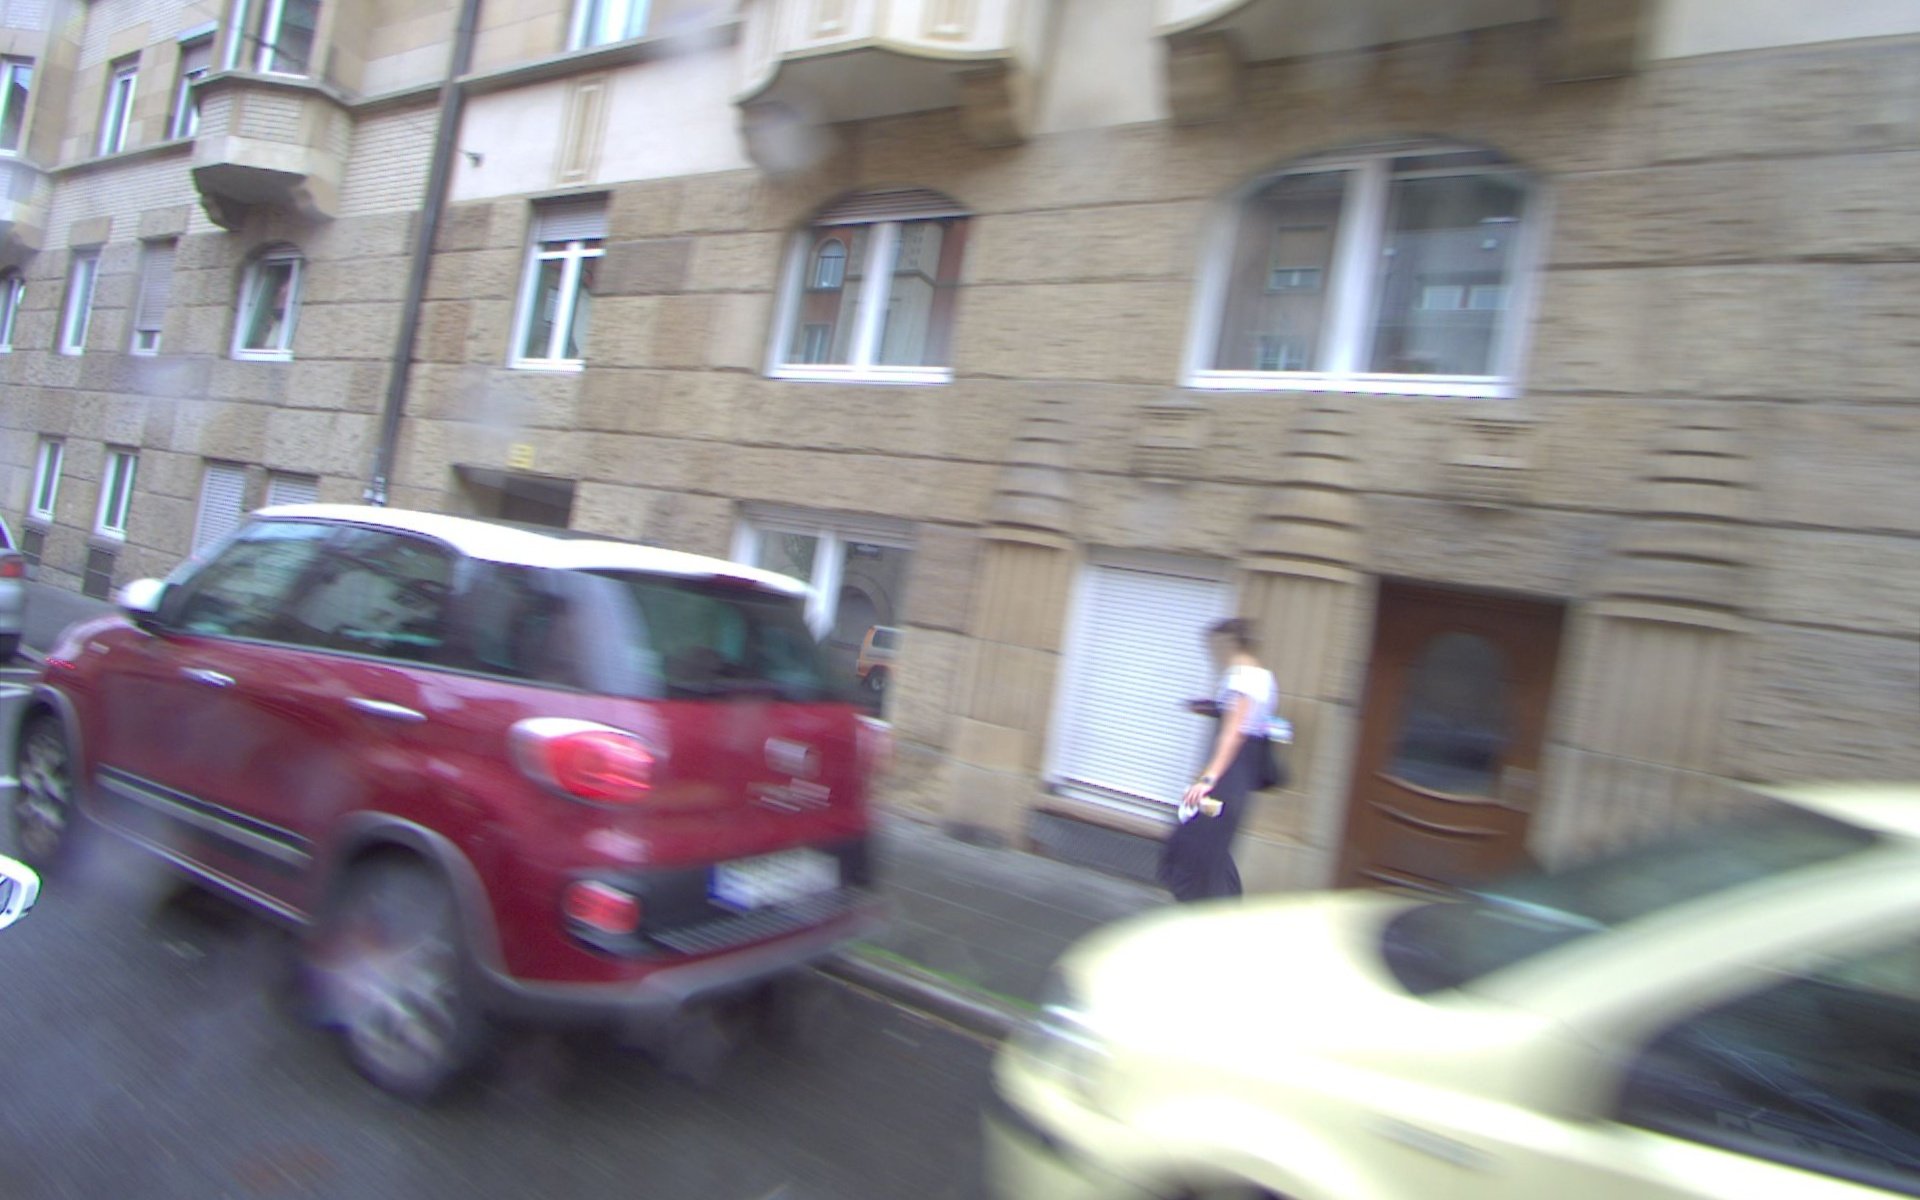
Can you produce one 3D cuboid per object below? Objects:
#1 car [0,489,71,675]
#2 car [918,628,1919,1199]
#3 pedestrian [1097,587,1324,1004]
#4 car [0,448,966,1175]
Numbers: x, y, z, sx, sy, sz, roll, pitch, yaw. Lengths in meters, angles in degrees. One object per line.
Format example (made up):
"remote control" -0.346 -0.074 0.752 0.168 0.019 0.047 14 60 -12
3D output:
"car" -9.867 -0.397 9.119 3.408 1.559 1.642 7 -3 32
"car" 1.809 1.080 1.921 3.403 1.494 1.563 7 -3 32
"pedestrian" 1.235 0.891 4.866 0.599 1.752 0.864 7 -2 33
"car" -2.197 0.470 4.182 3.931 1.646 1.716 7 -3 29
